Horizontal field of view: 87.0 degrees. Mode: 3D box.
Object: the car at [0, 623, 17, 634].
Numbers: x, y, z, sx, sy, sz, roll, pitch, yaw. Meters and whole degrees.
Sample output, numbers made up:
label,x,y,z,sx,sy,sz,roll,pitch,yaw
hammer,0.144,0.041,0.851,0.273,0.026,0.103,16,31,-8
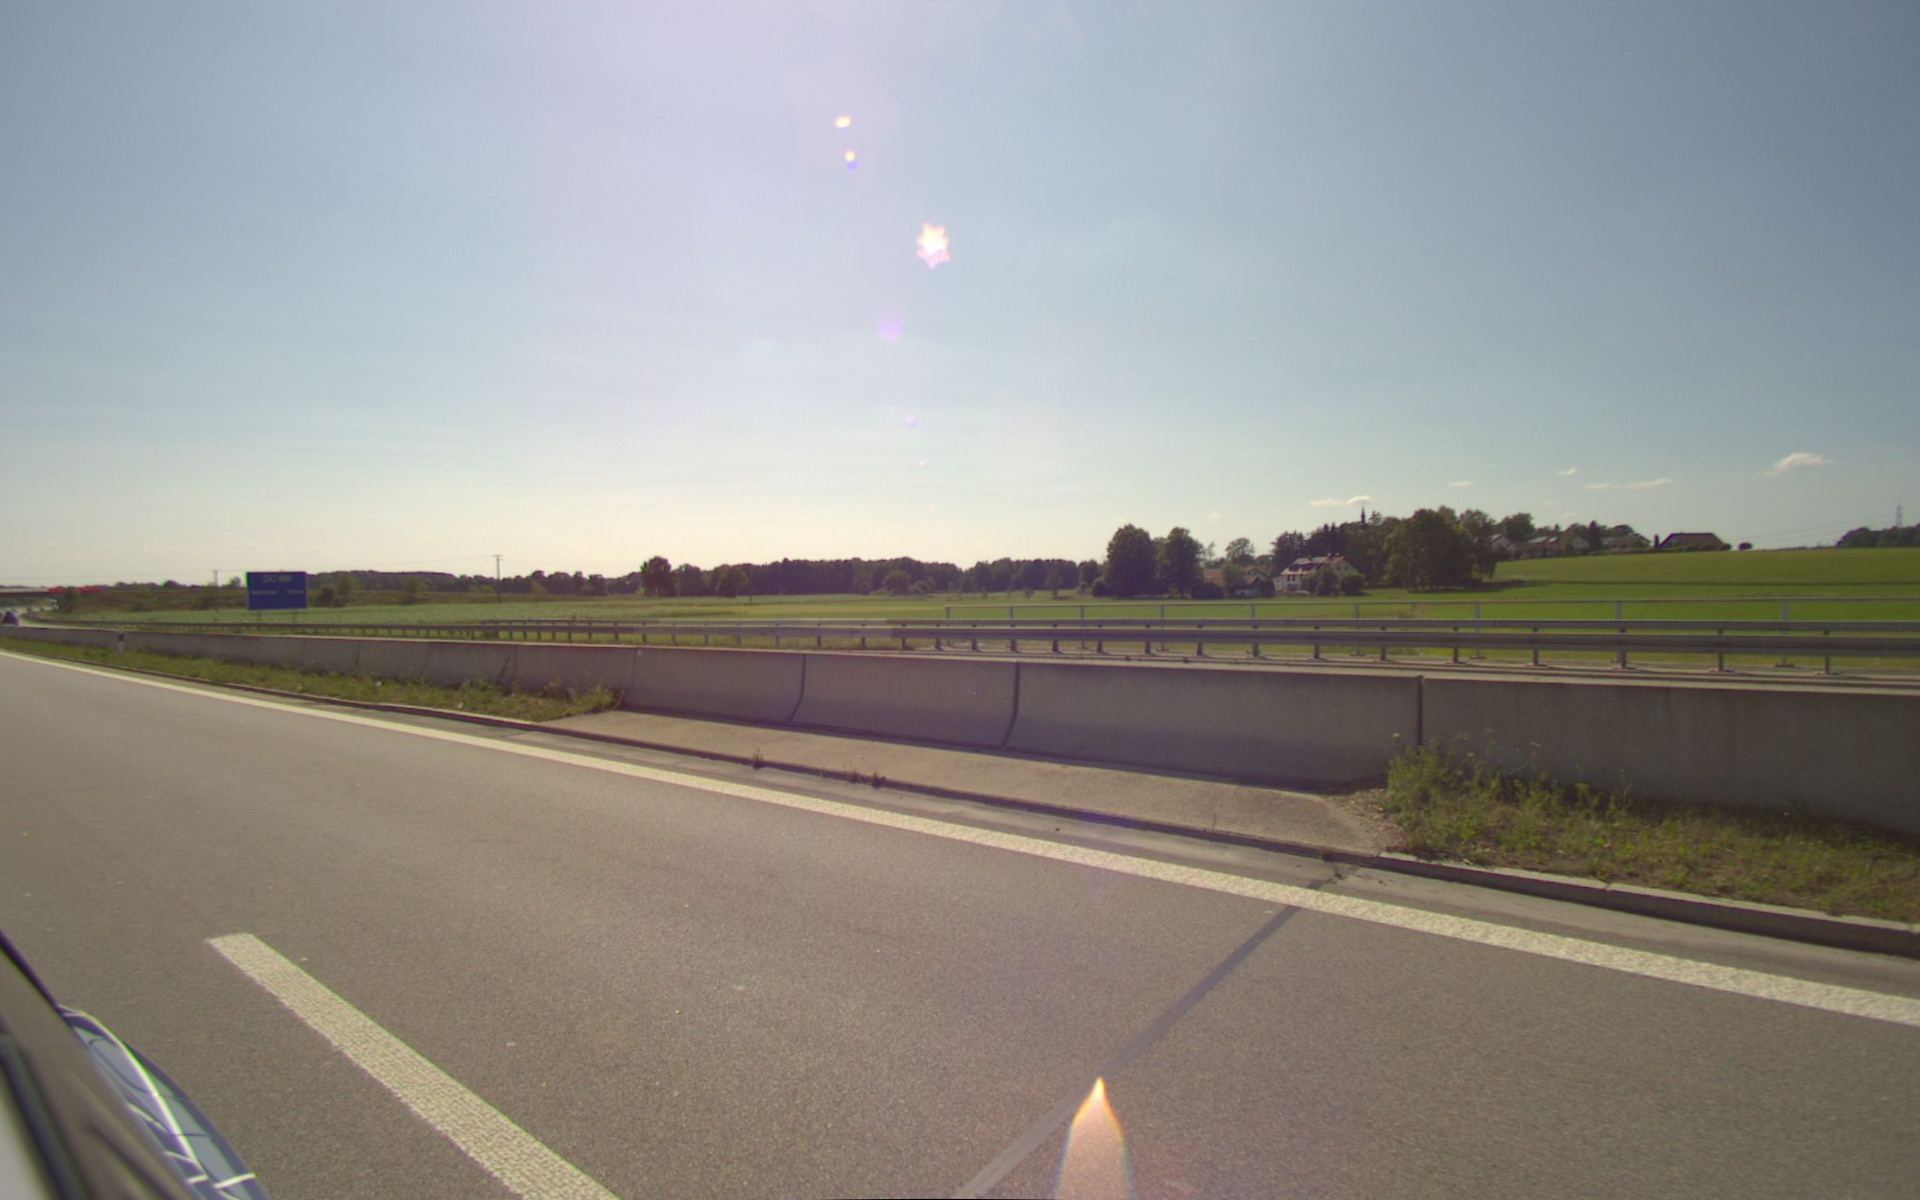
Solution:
label,x,y,z,sx,sy,sz,roll,pitch,yaw
car,-131.115,3.939,138.976,4.804,1.535,1.877,-2,-1,42
